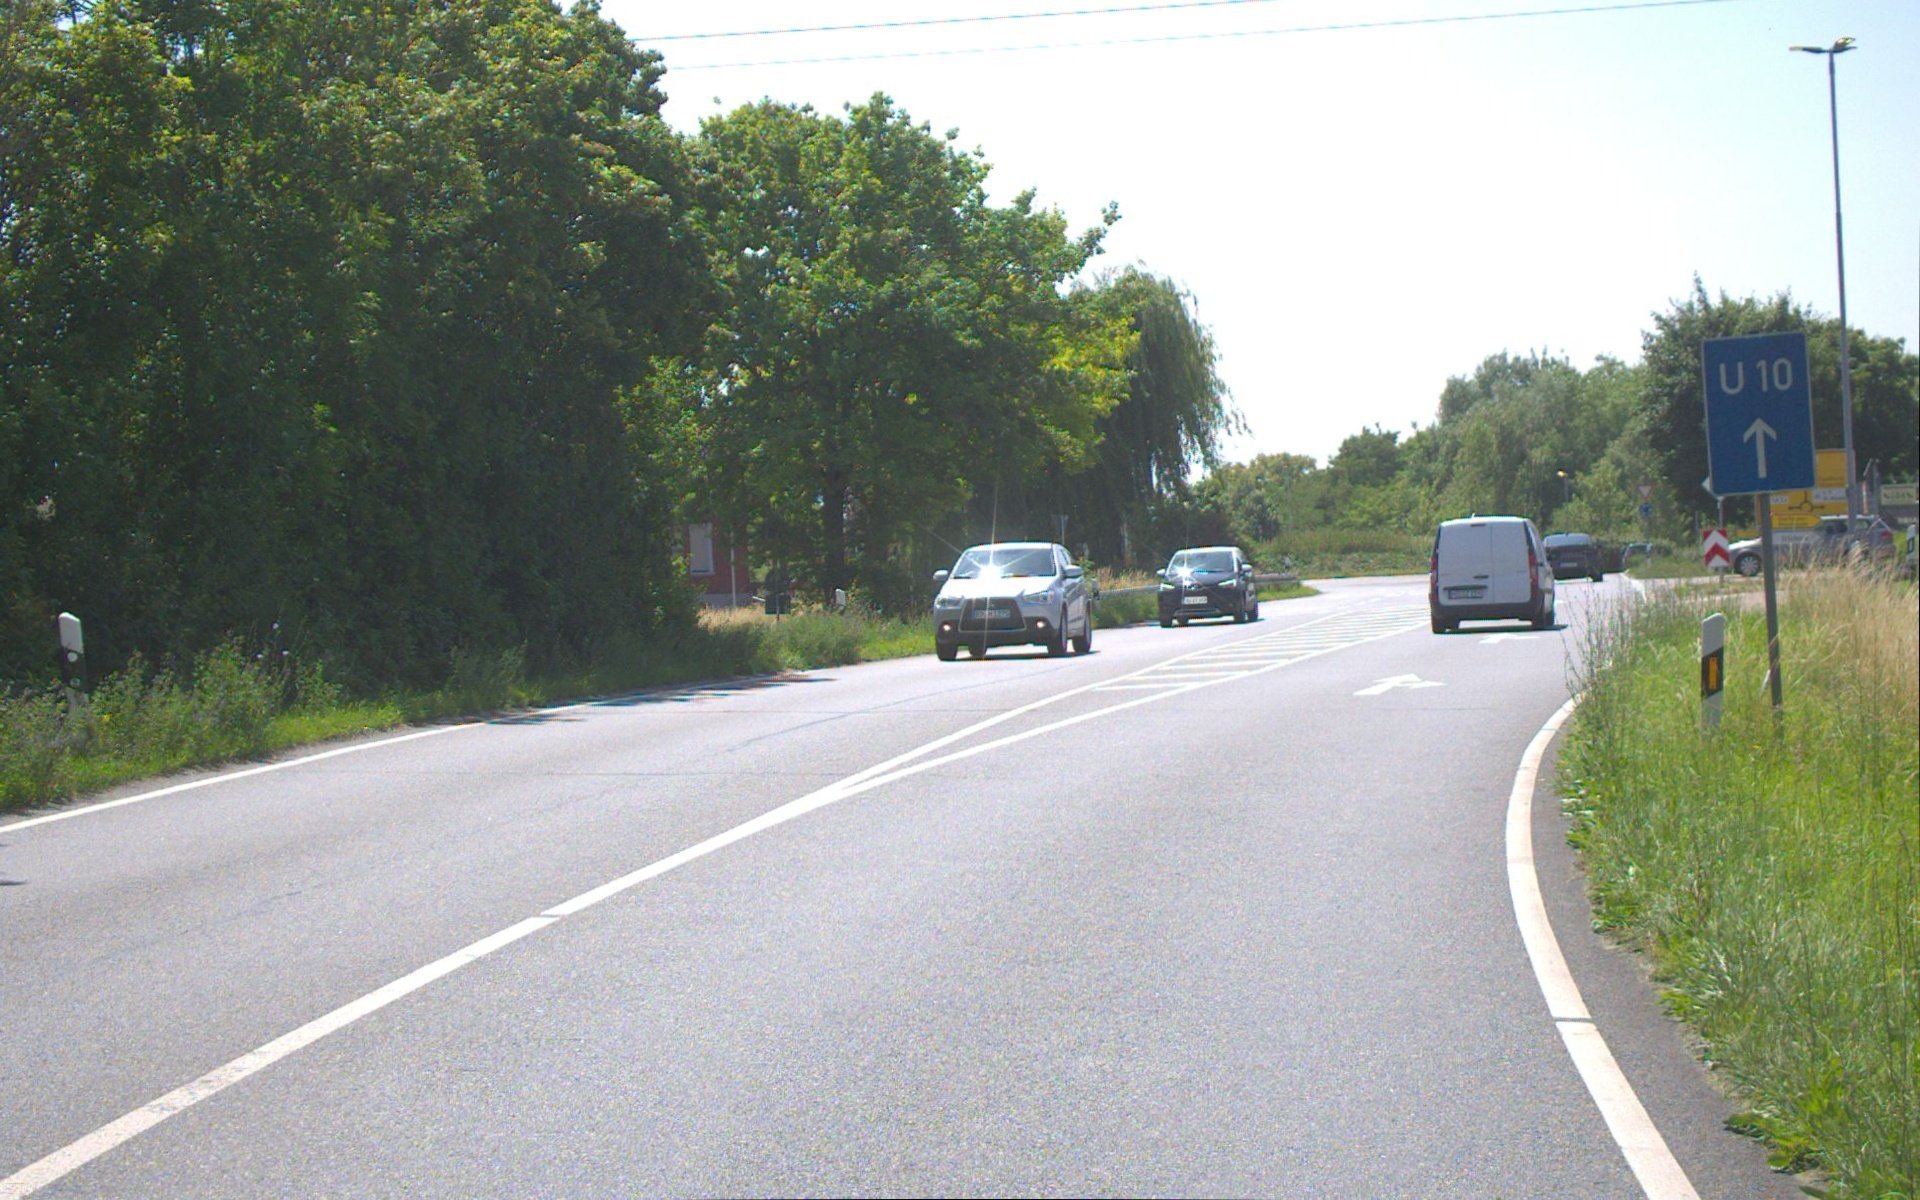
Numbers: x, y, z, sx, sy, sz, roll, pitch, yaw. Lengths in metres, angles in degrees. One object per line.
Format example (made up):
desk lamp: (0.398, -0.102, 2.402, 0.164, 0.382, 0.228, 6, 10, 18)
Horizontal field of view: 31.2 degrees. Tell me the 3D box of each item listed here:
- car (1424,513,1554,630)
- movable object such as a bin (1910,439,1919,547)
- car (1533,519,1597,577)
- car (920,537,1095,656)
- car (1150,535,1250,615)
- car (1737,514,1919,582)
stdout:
car: (8.363, -0.447, 54.309, 1.904, 1.726, 3.821, -2, 0, 9)
movable object such as a bin: (31.238, -3.385, 107.861, 2.324, 3.239, 5.099, -1, -1, 11)
car: (18.139, -1.567, 102.947, 1.806, 1.550, 3.999, -2, 2, 11)
car: (0.717, -0.089, 48.131, 1.742, 1.584, 4.528, 0, 1, 10)
car: (4.965, -0.525, 70.828, 1.733, 1.585, 3.956, -1, 1, 8)
car: (22.495, -1.348, 89.097, 4.514, 1.503, 1.913, -3, 1, 12)
